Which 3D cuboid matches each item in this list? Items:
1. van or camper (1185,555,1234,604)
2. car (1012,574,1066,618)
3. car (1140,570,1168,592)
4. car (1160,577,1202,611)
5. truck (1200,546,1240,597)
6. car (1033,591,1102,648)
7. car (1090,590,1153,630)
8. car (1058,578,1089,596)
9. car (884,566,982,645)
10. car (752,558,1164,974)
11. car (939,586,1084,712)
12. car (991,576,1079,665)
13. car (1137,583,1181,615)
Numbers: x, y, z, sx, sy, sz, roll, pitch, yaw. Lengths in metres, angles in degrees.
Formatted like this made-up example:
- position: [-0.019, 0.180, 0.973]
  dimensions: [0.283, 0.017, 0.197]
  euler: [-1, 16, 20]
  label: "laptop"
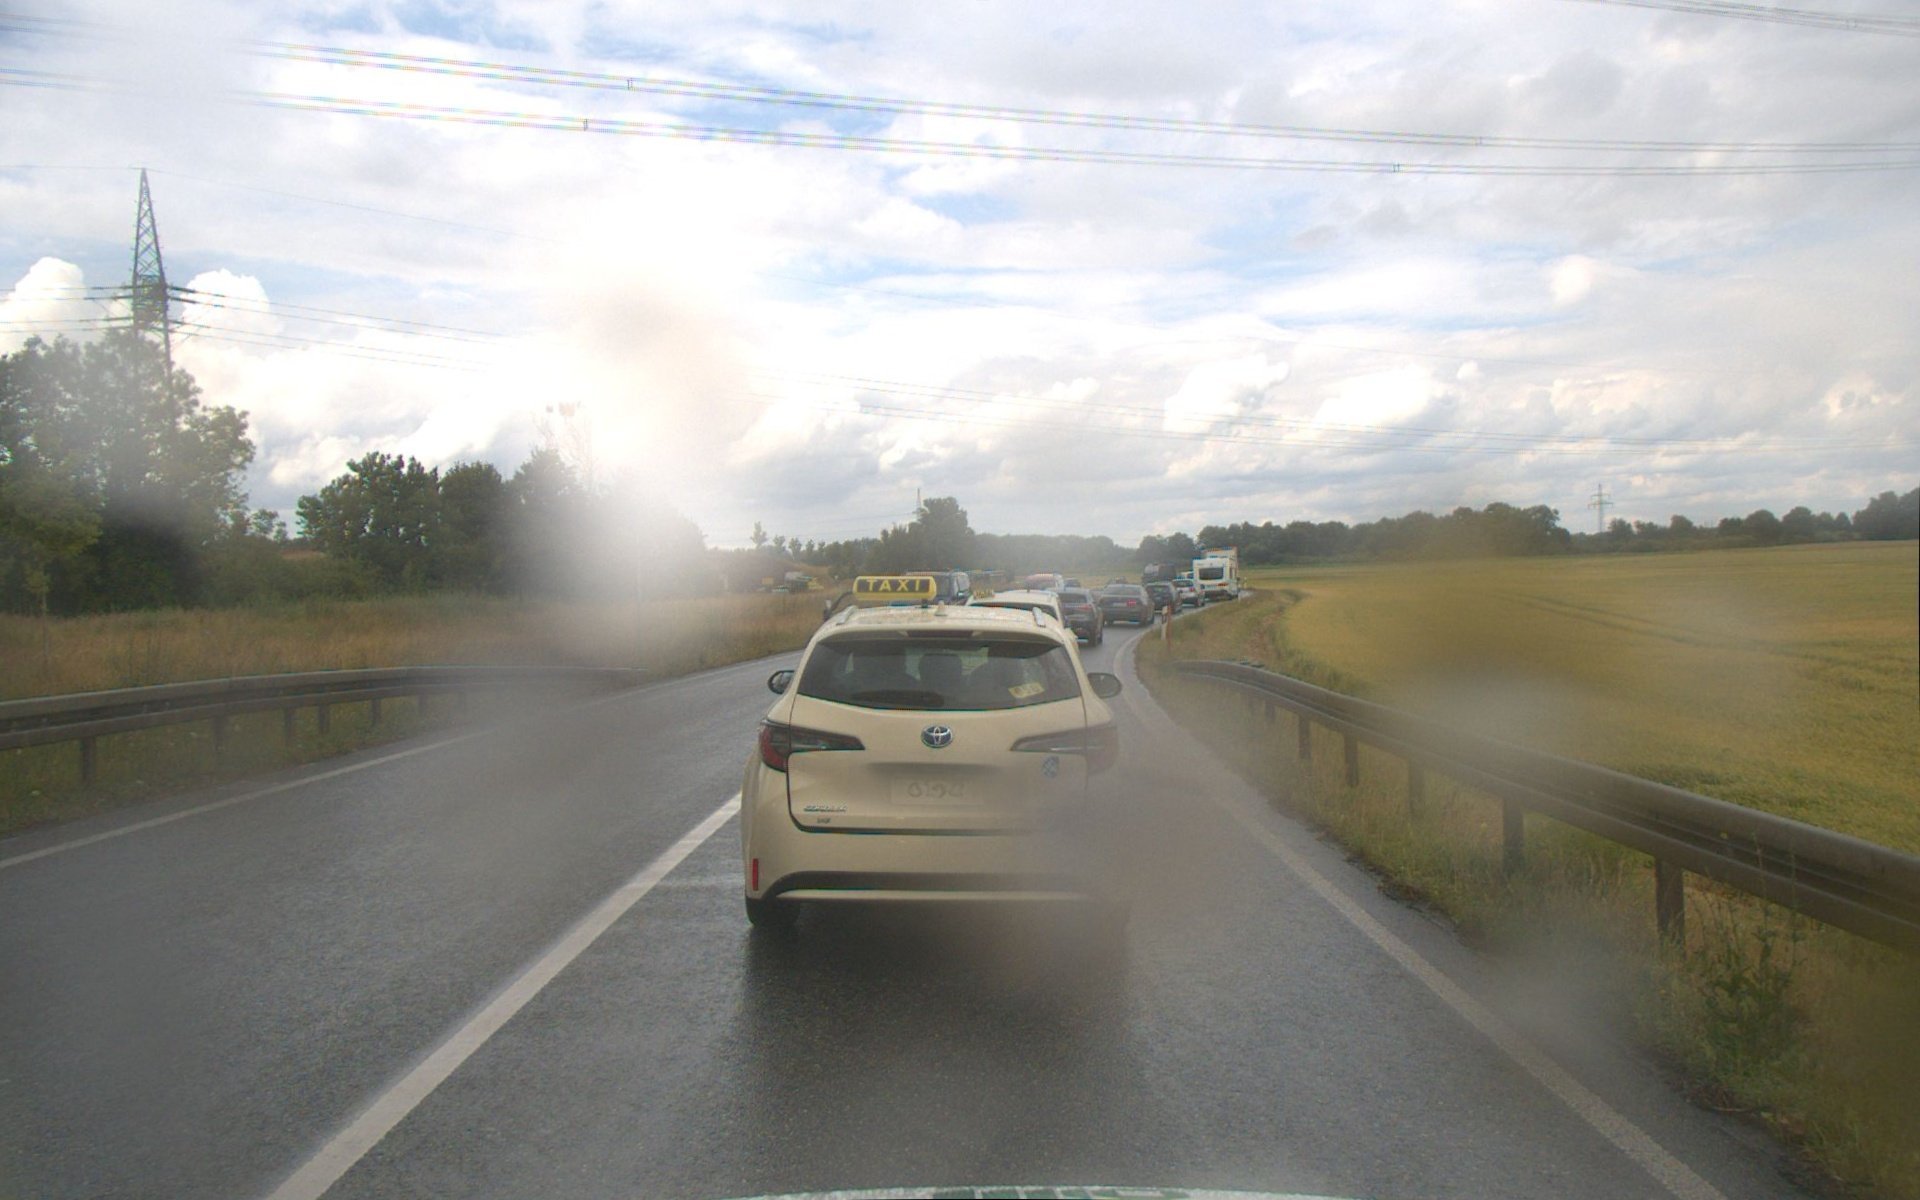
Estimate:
- position: [15.666, -1.271, 103.496]
  dimensions: [2.482, 2.946, 6.749]
  euler: [1, 1, 13]
  label: "van or camper"
- position: [3.503, -0.159, 72.803]
  dimensions: [1.763, 1.883, 4.524]
  euler: [0, 0, 11]
  label: "car"
- position: [19.333, -1.864, 164.872]
  dimensions: [1.707, 2.049, 4.140]
  euler: [1, 0, -8]
  label: "car"
- position: [11.935, -0.313, 88.988]
  dimensions: [1.918, 1.759, 3.741]
  euler: [1, 0, 12]
  label: "car"
- position: [20.832, -2.222, 132.195]
  dimensions: [3.060, 3.919, 7.392]
  euler: [1, 0, 10]
  label: "truck"
- position: [2.913, 0.517, 44.228]
  dimensions: [1.578, 1.438, 3.741]
  euler: [1, 0, 7]
  label: "car"
- position: [6.078, 0.372, 61.842]
  dimensions: [1.918, 1.438, 4.396]
  euler: [1, 0, 11]
  label: "car"
- position: [13.319, -1.547, 193.994]
  dimensions: [1.887, 2.049, 4.100]
  euler: [1, 0, -24]
  label: "car"
- position: [-0.683, 0.162, 45.620]
  dimensions: [1.920, 2.049, 4.864]
  euler: [1, 0, 8]
  label: "car"
- position: [0.003, 0.653, 8.302]
  dimensions: [1.580, 1.589, 3.738]
  euler: [1, 0, 0]
  label: "car"
- position: [0.806, 0.589, 22.946]
  dimensions: [1.802, 1.518, 4.611]
  euler: [1, 1, 4]
  label: "car"
- position: [1.579, 0.405, 33.810]
  dimensions: [1.579, 1.688, 3.740]
  euler: [1, 0, 5]
  label: "car"
- position: [9.426, -0.021, 78.204]
  dimensions: [1.786, 1.438, 3.741]
  euler: [1, 0, 11]
  label: "car"
